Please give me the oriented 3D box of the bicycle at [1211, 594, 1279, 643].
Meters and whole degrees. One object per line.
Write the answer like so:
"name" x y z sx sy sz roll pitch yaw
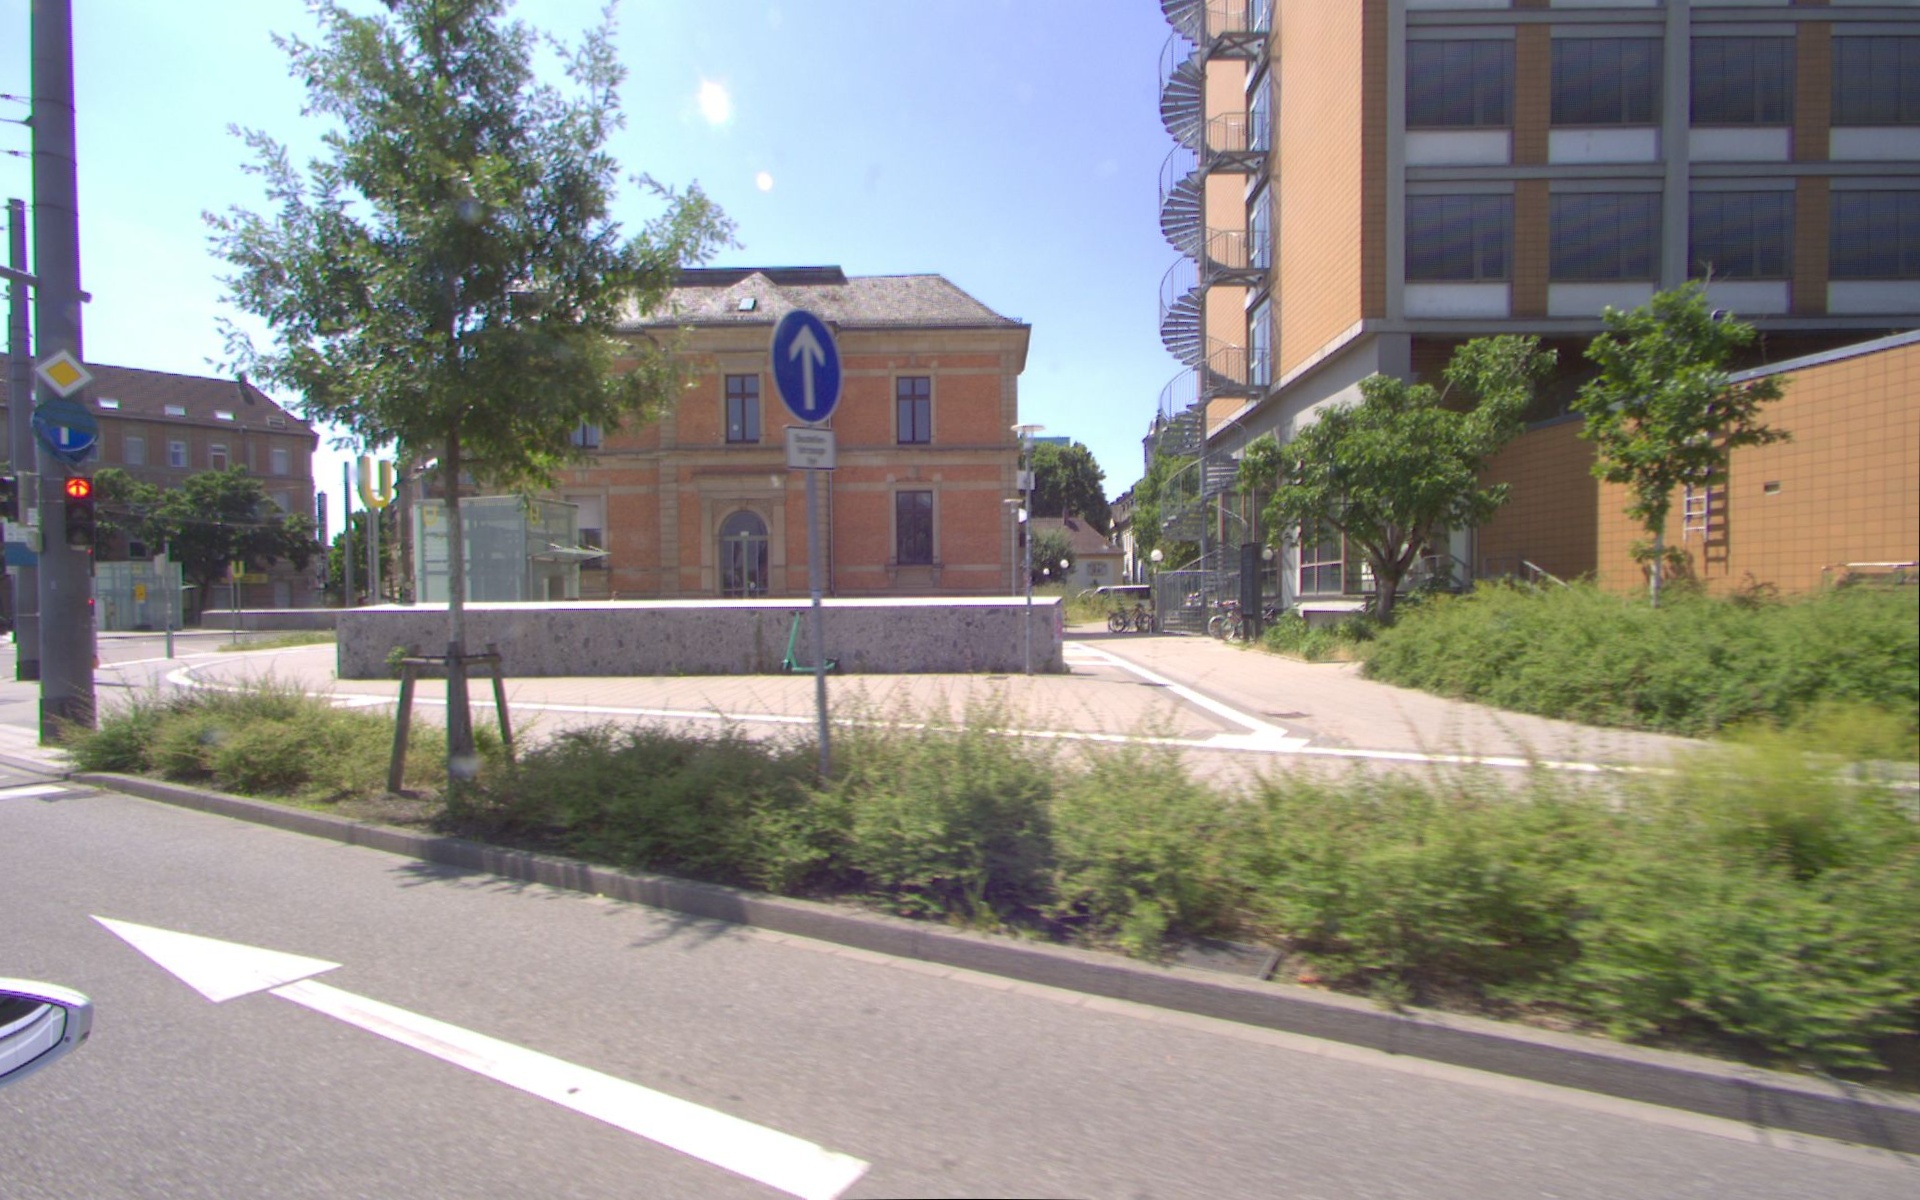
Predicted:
"bicycle" 8.235 0.539 28.986 1.780 1.347 0.497 2 1 2

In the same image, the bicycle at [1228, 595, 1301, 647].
"bicycle" 8.215 0.557 27.048 1.780 1.347 0.497 2 1 2

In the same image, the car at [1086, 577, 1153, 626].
"car" 9.056 0.073 56.991 3.658 2.680 1.166 2 1 7

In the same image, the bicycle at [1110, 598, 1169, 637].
"bicycle" 6.727 0.654 37.586 2.068 1.379 0.767 2 1 4

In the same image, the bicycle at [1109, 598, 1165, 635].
"bicycle" 6.816 0.627 38.648 2.037 1.320 0.767 2 1 4

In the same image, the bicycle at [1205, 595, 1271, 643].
"bicycle" 8.216 0.564 29.635 1.780 1.347 0.497 2 1 2

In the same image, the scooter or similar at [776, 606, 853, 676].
"scooter or similar" -2.590 0.722 17.800 1.265 1.183 0.397 2 1 9

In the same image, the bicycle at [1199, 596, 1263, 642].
"bicycle" 8.252 0.582 30.551 1.780 1.347 0.497 2 1 2
